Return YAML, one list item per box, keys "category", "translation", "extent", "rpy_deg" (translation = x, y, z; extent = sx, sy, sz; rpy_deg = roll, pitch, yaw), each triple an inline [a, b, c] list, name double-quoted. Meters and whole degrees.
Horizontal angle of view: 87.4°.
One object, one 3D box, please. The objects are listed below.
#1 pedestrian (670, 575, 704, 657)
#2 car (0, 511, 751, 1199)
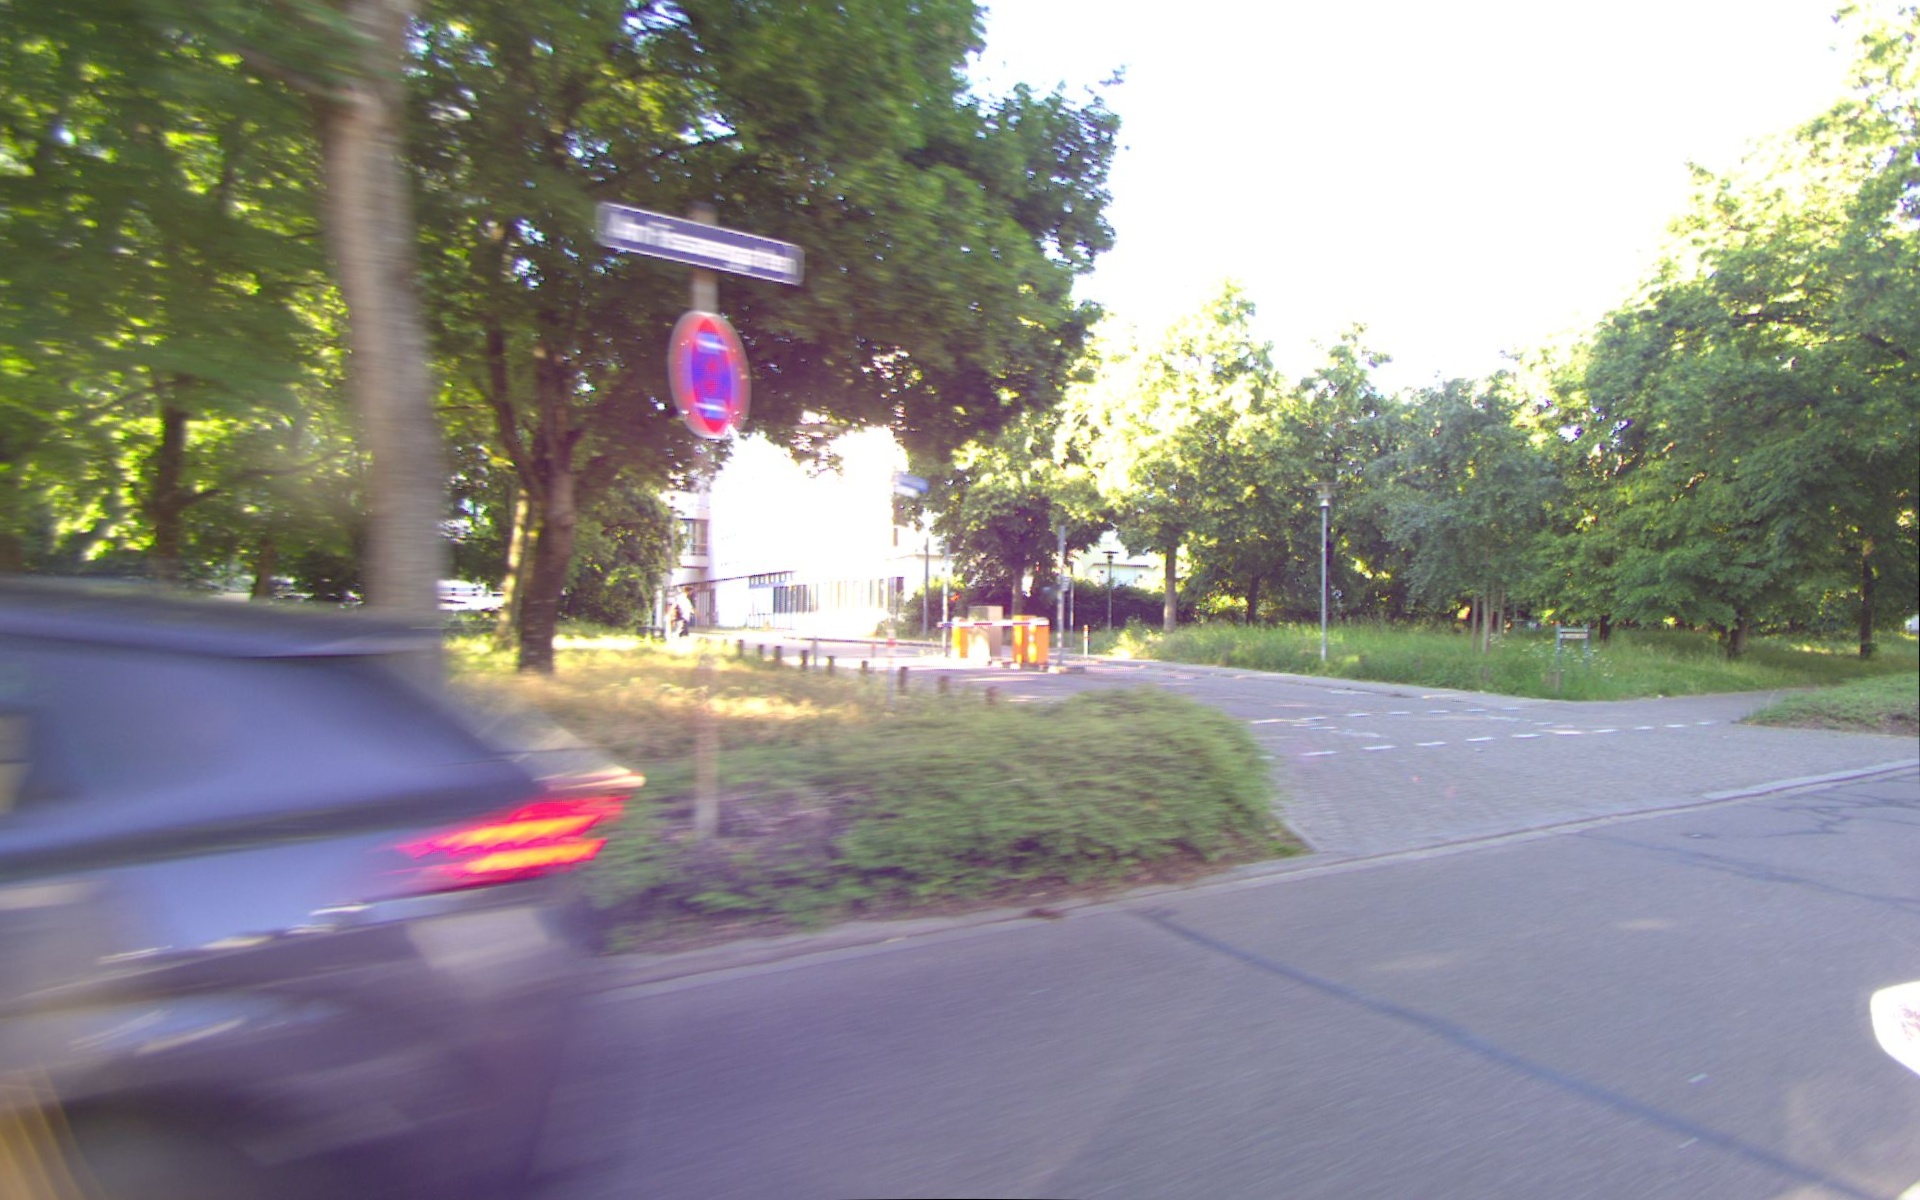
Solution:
- category: "pedestrian"
  translation: [-6.929, 0.401, 25.496]
  extent: [0.584, 2.040, 0.751]
  rpy_deg: [1, 0, -34]
- category: "car"
  translation: [-2.689, 0.693, 1.582]
  extent: [4.286, 1.599, 1.835]
  rpy_deg: [1, -3, -31]
